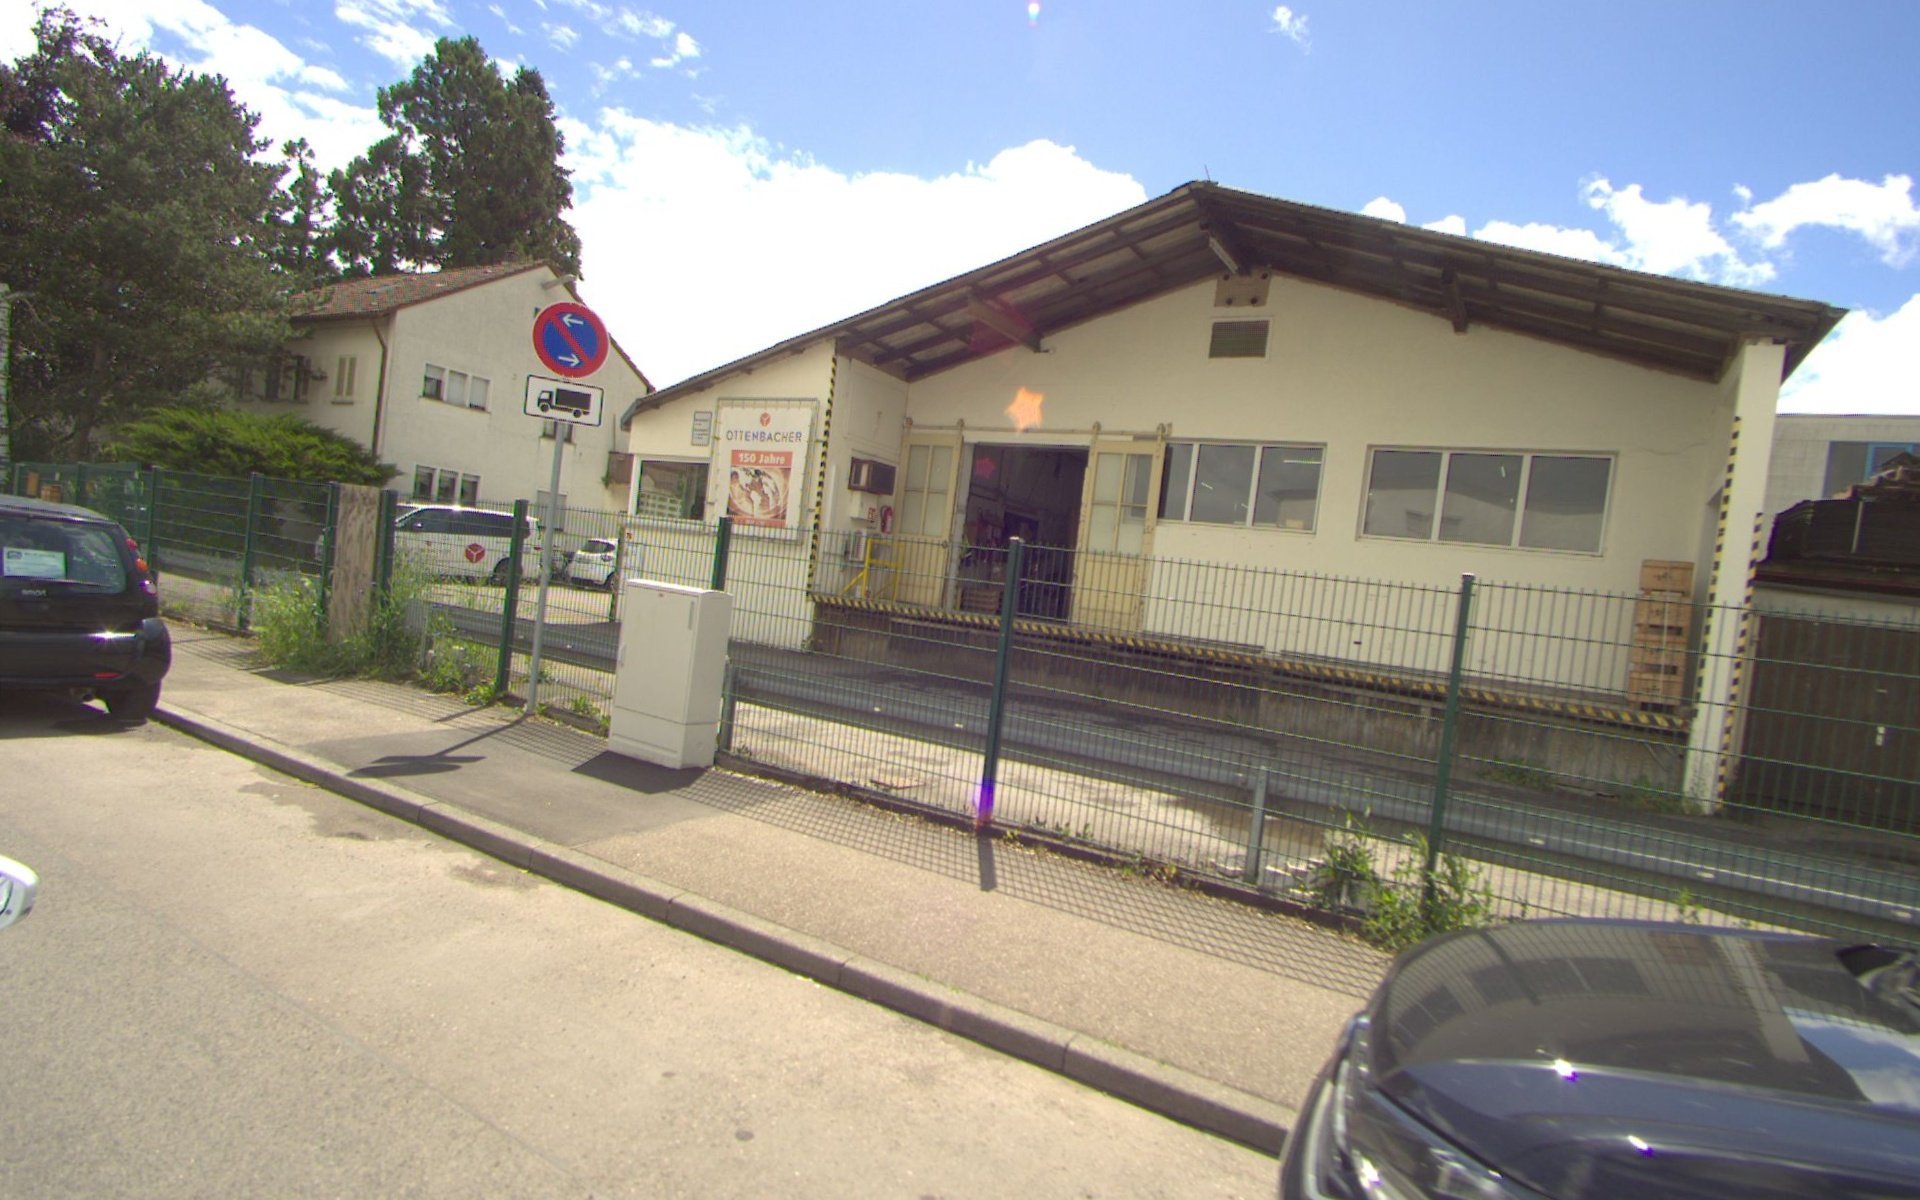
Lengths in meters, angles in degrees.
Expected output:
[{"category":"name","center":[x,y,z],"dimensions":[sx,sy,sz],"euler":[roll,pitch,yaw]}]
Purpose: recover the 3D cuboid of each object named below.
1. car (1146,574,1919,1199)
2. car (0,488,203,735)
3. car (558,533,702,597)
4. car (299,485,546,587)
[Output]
[{"category":"car","center":[2.386,1.005,1.100],"dimensions":[4.014,1.572,1.692],"euler":[7,1,28]},{"category":"car","center":[-7.284,-0.101,7.172],"dimensions":[3.784,1.469,1.691],"euler":[7,1,32]},{"category":"car","center":[-9.837,-1.014,30.244],"dimensions":[1.633,1.544,3.884],"euler":[7,2,33]},{"category":"car","center":[-13.222,-1.520,25.075],"dimensions":[1.968,1.954,5.015],"euler":[7,2,34]}]
